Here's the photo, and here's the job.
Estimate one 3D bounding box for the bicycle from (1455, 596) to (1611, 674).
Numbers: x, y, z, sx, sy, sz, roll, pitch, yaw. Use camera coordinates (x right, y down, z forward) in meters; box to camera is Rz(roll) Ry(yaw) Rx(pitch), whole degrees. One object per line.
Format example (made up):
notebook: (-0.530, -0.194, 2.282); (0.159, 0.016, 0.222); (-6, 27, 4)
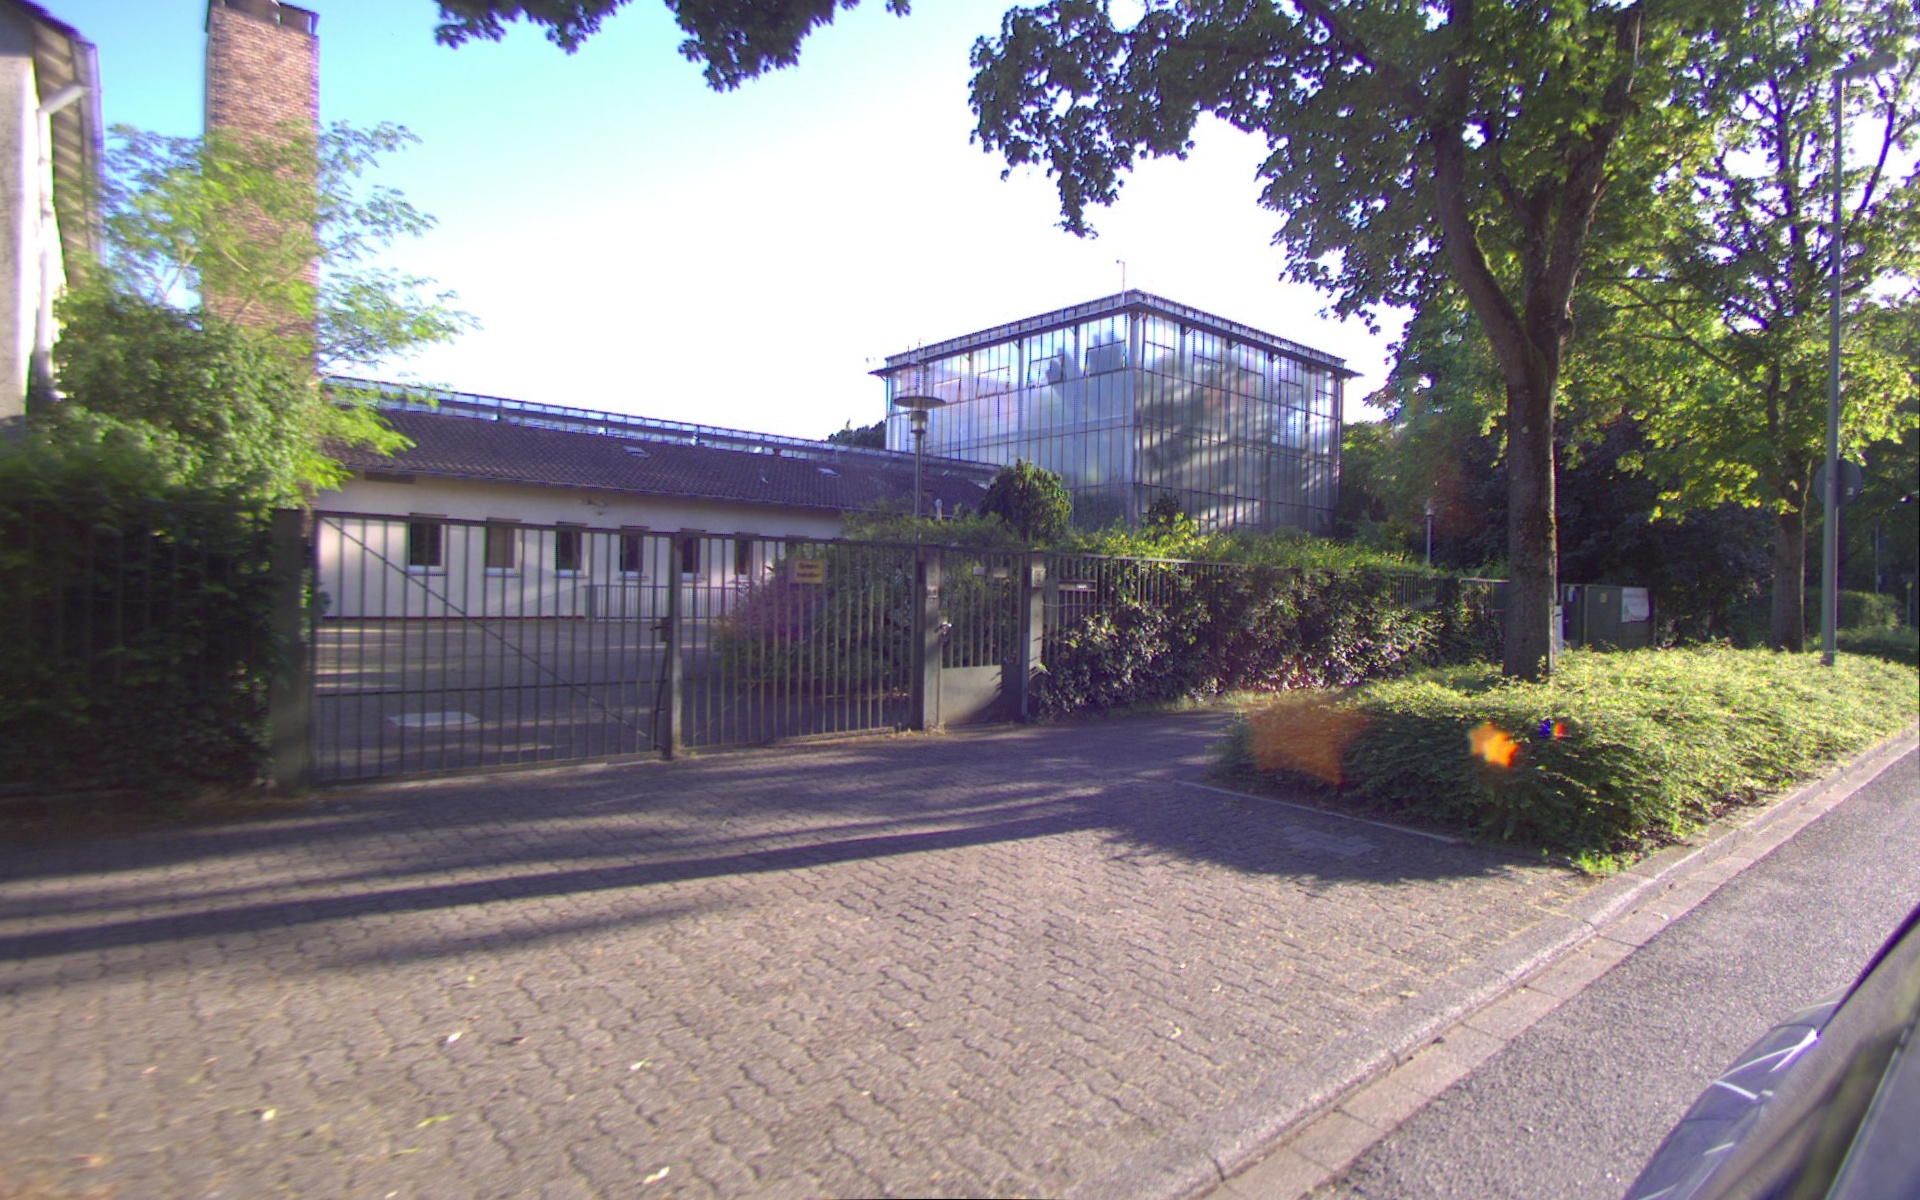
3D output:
bicycle: (9.620, 0.584, 17.005); (2.277, 1.215, 0.888); (1, 2, -16)
